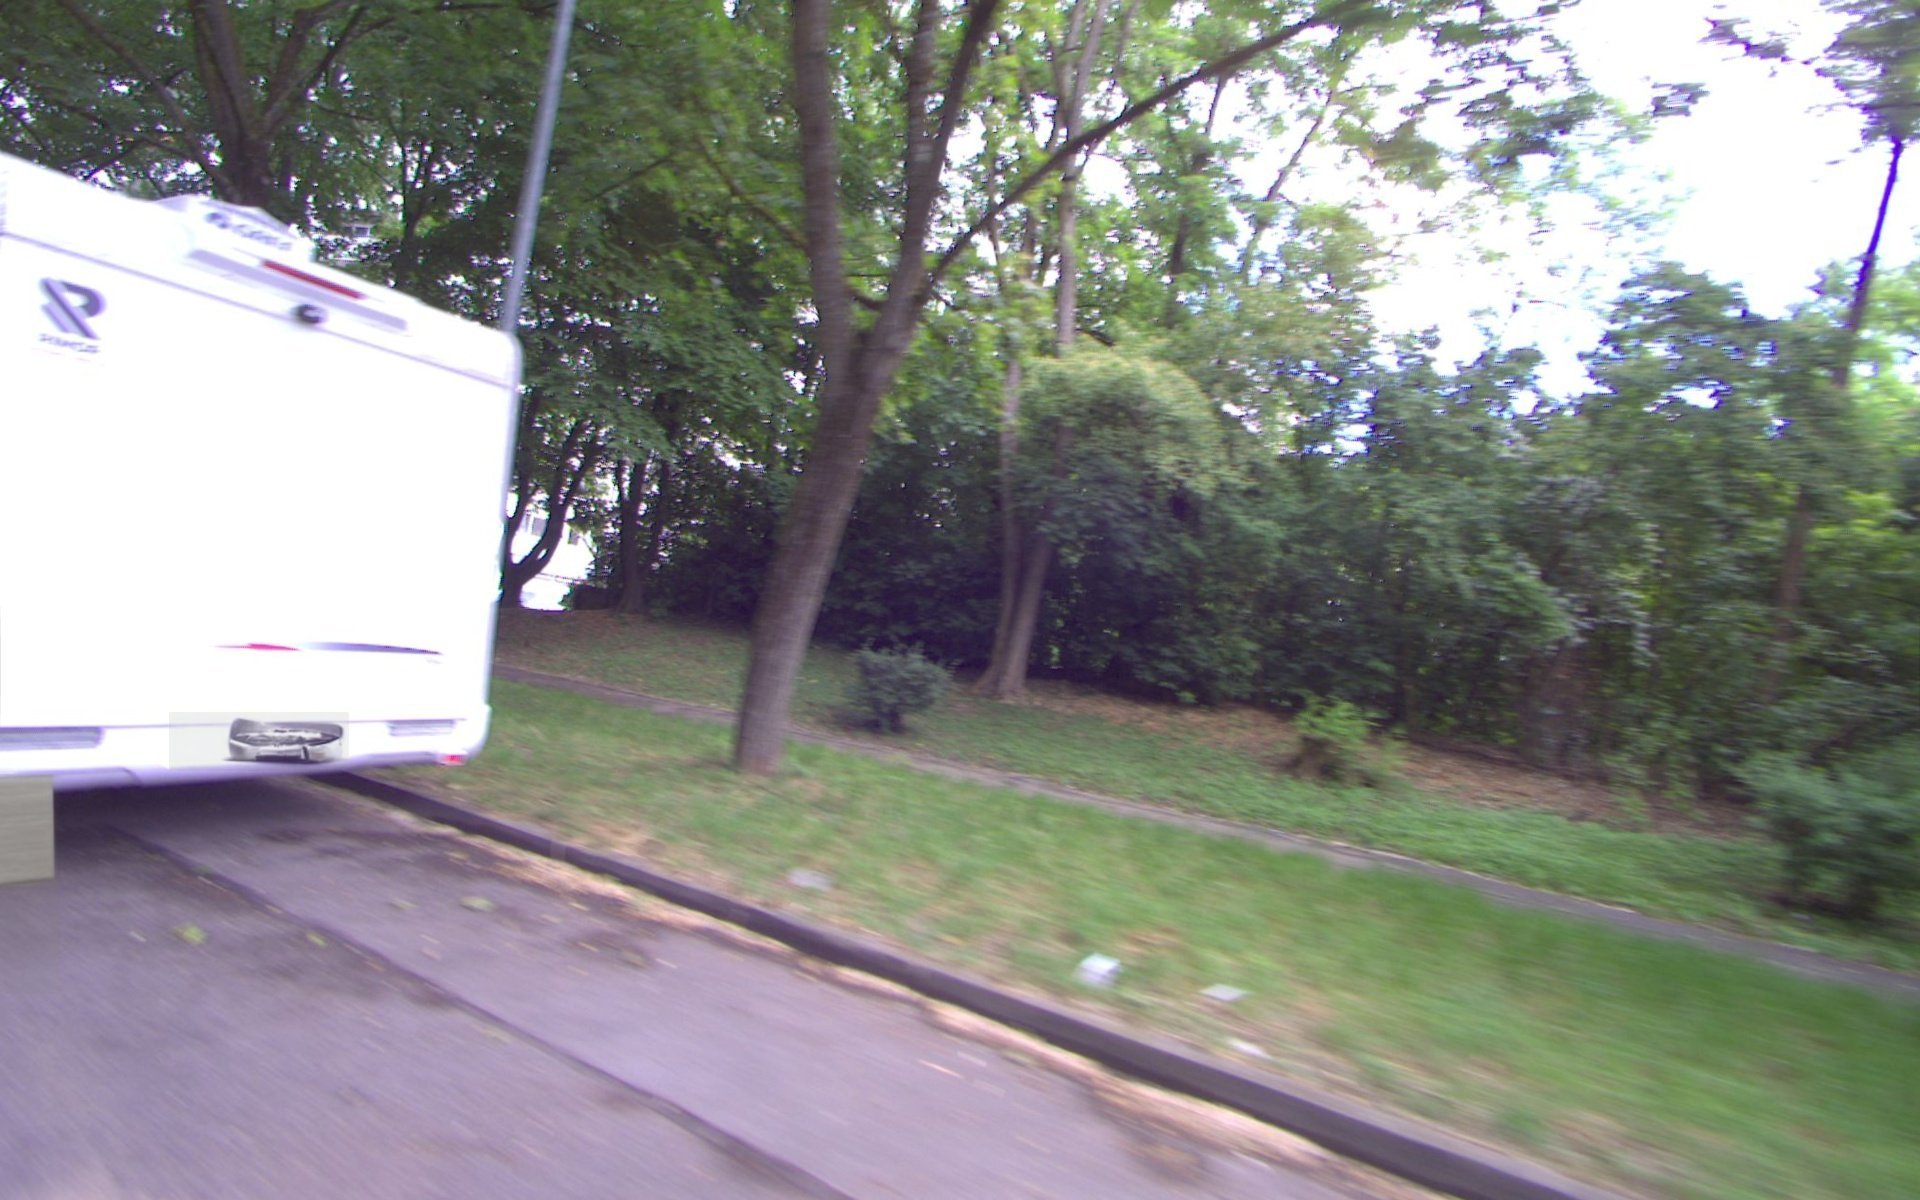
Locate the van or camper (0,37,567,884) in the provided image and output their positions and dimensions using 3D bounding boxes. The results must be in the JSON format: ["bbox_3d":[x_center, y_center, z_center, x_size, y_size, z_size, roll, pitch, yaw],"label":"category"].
[{"bbox_3d":[-6.086,-0.696,6.350,7.268,3.014,2.430,6,-2,30],"label":"van or camper"}]
